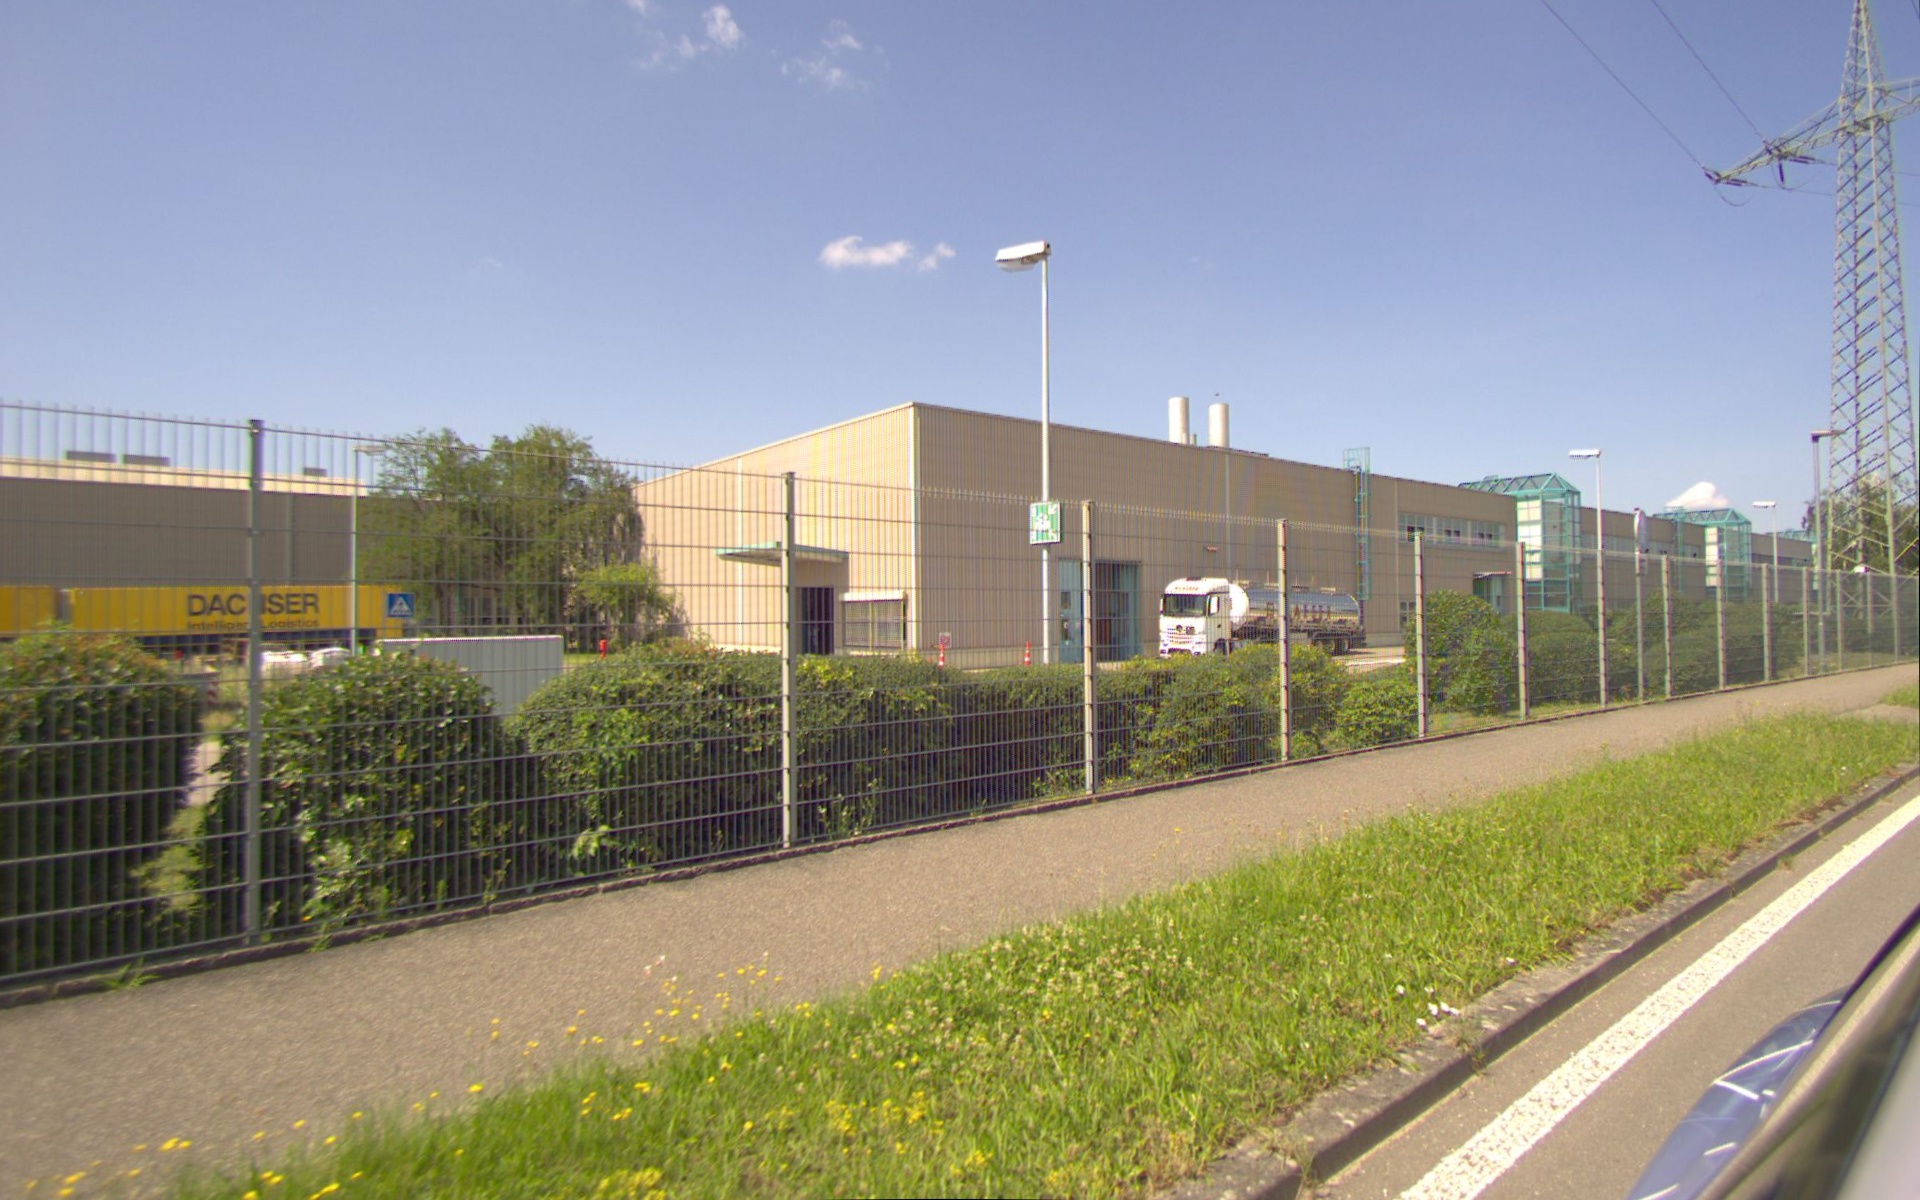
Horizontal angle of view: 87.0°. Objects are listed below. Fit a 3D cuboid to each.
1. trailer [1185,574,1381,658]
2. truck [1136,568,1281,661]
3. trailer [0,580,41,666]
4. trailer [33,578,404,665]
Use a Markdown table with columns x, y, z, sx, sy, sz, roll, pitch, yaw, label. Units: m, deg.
| x | y | z | sx | sy | sz | roll | pitch | yaw | label |
| --- | --- | --- | --- | --- | --- | --- | --- | --- | --- |
| 16.410 | 0.699 | 50.685 | 12.022 | 3.783 | 3.597 | 0 | 0 | -41 | trailer |
| 11.452 | 0.594 | 46.375 | 6.299 | 3.916 | 3.598 | 0 | 0 | -42 | truck |
| -47.334 | 1.071 | 42.658 | 12.520 | 3.815 | 2.924 | 0 | -2 | -38 | trailer |
| -36.614 | 0.974 | 51.091 | 14.782 | 3.891 | 2.942 | 0 | -2 | -38 | trailer |
